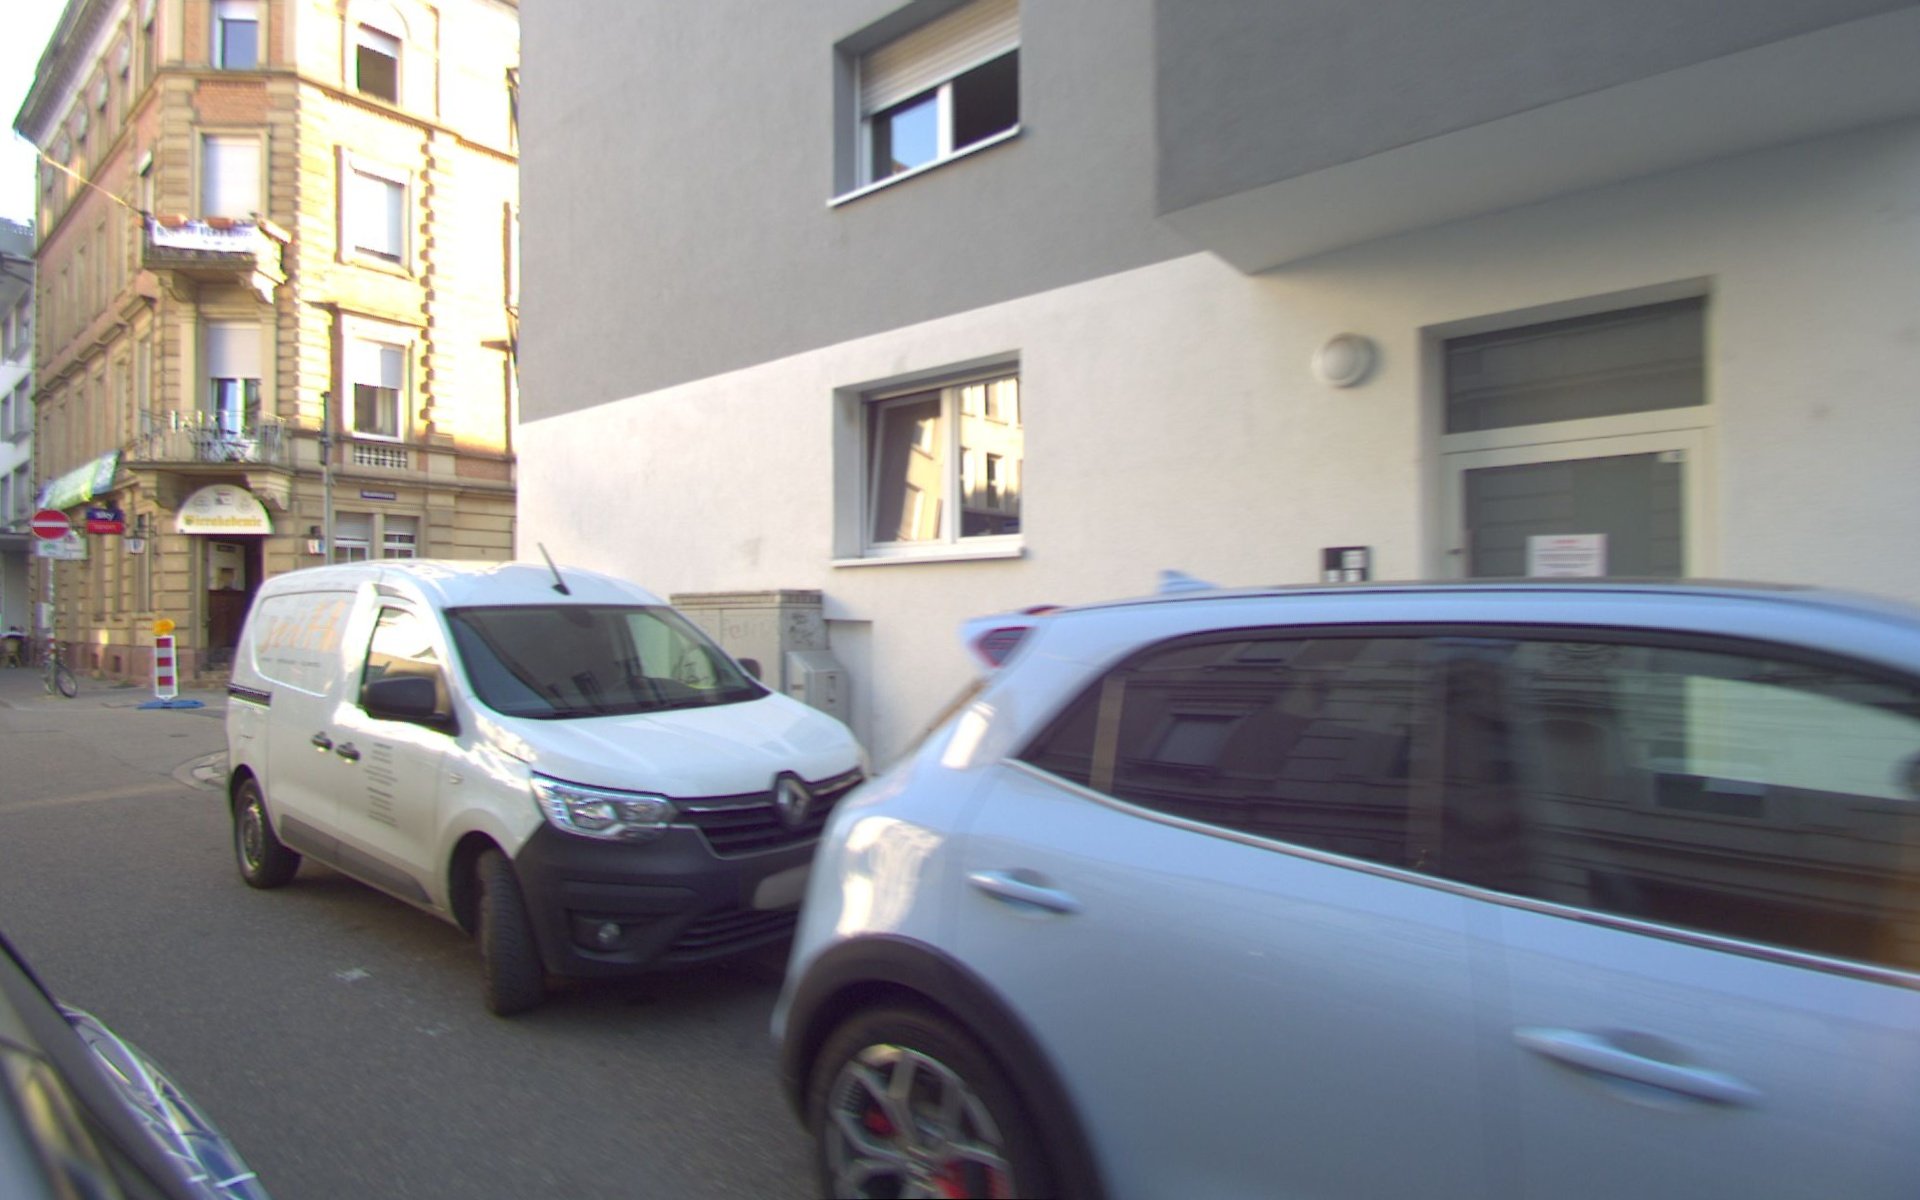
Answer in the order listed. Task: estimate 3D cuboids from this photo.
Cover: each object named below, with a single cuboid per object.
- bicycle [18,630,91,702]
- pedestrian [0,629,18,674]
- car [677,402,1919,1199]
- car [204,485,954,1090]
[{"bbox_3d":[-17.404,1.250,19.433,1.760,1.285,0.653,-2,1,36],"label":"bicycle"},{"bbox_3d":[-29.400,1.568,30.857,0.824,1.350,0.808,1,-2,-30],"label":"pedestrian"},{"bbox_3d":[1.593,0.578,1.851,4.357,1.576,1.748,-3,-3,36],"label":"car"},{"bbox_3d":[-2.155,0.630,5.029,4.181,1.827,1.615,-2,-2,39],"label":"car"}]
